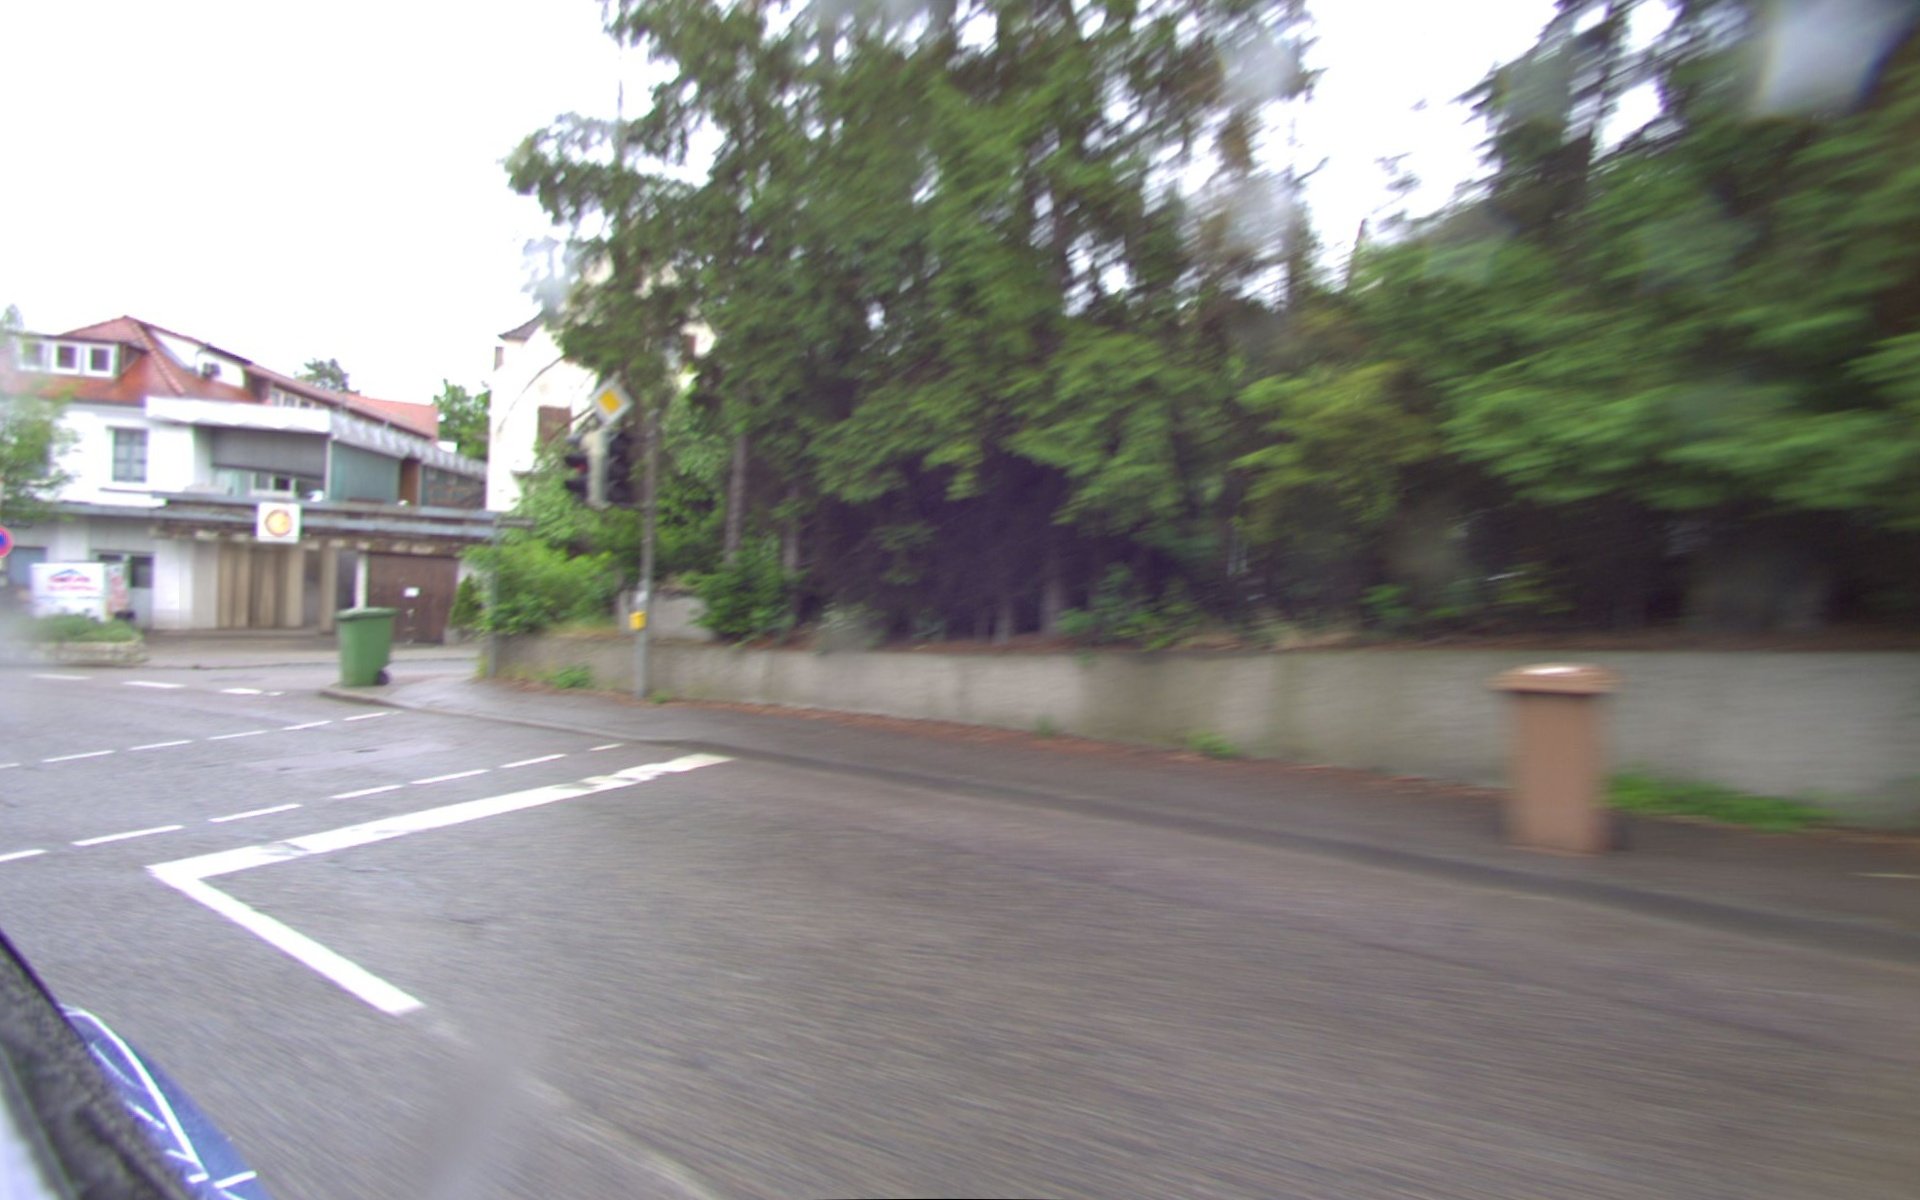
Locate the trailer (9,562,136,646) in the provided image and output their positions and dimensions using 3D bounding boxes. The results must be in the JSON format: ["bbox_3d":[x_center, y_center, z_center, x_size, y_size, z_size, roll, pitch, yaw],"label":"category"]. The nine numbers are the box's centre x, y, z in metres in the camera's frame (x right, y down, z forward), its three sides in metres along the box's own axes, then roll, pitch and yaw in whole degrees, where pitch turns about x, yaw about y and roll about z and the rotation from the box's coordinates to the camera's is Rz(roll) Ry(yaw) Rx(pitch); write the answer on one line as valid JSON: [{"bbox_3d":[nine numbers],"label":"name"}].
[{"bbox_3d":[-24.196,0.069,27.739,1.920,2.118,3.973,0,1,-31],"label":"trailer"}]

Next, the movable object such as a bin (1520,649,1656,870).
[{"bbox_3d":[3.151,0.762,5.075,0.490,0.986,0.494,0,2,42],"label":"movable object such as a bin"}]

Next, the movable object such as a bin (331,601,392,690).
[{"bbox_3d":[-8.279,0.607,14.005,0.616,1.148,0.669,-2,3,-38],"label":"movable object such as a bin"}]
